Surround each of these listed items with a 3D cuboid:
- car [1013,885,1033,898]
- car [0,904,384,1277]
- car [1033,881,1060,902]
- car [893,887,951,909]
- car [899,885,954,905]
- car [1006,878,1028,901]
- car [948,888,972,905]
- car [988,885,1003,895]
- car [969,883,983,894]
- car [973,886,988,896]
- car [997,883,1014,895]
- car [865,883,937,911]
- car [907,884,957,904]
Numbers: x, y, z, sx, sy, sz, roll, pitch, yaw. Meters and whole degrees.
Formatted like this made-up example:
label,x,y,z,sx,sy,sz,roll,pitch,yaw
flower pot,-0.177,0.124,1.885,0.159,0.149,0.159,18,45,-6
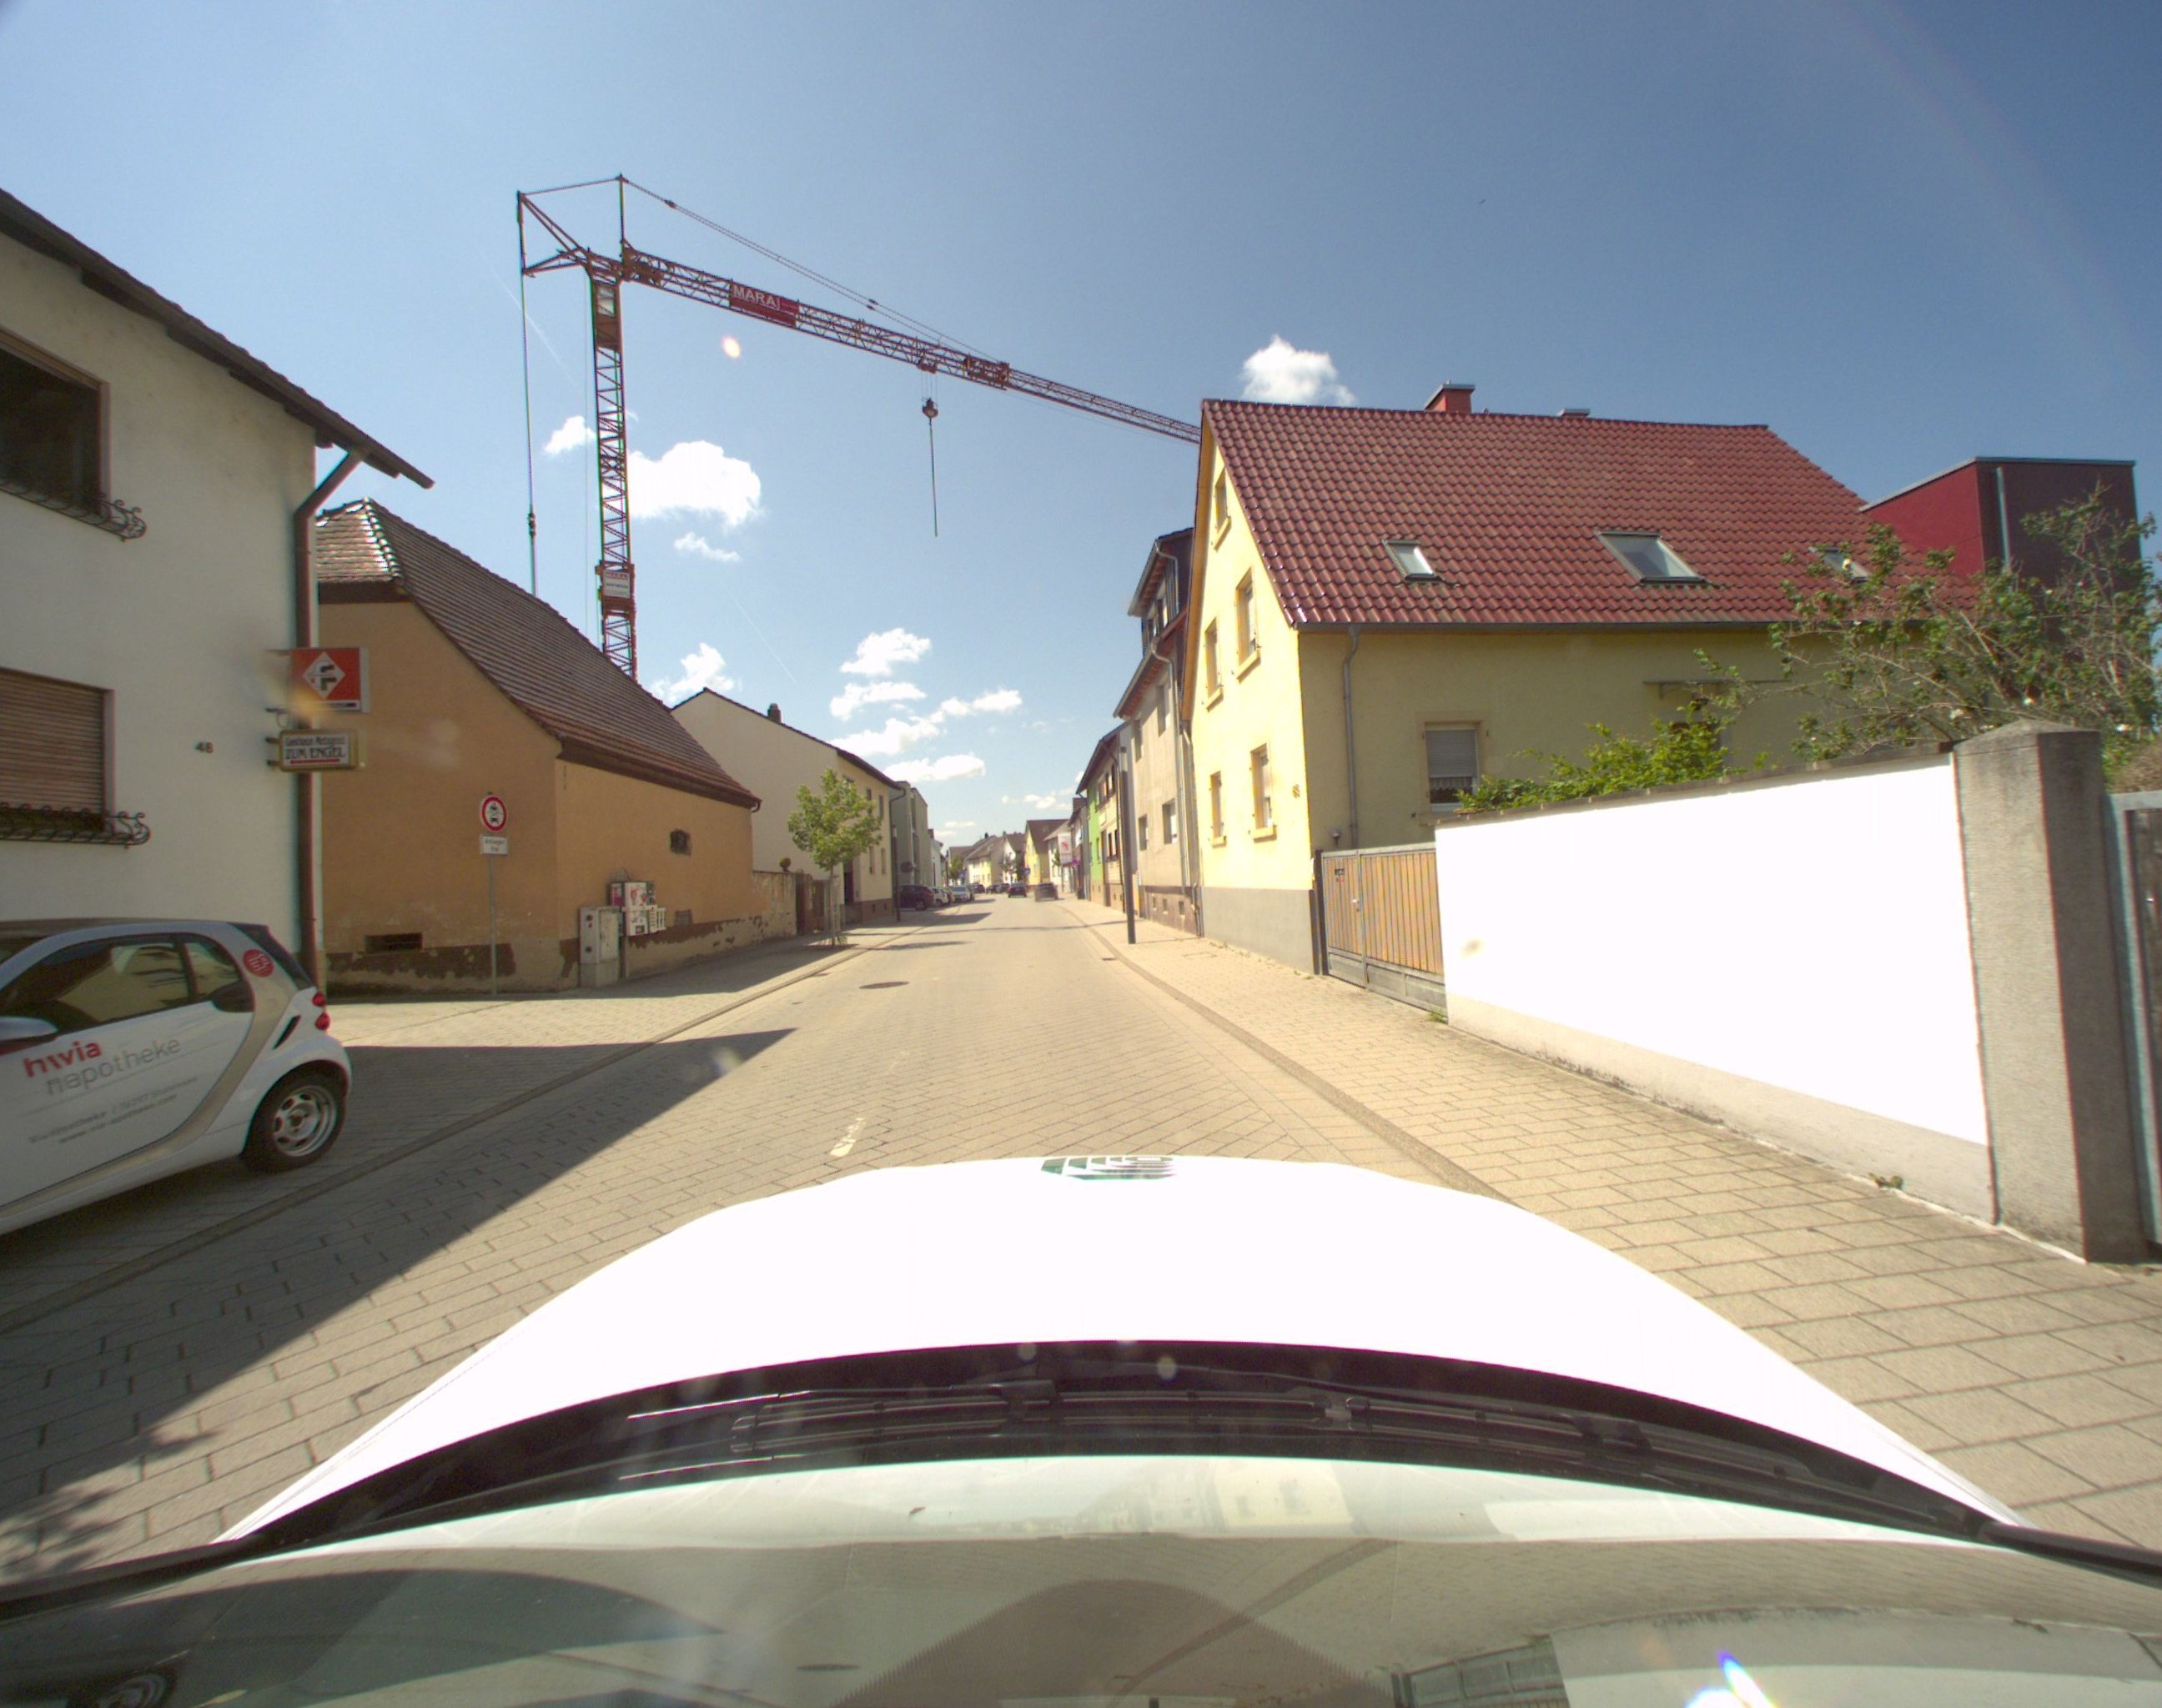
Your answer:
label,x,y,z,sx,sy,sz,roll,pitch,yaw
car,-7.903,5.151,111.504,1.833,1.471,4.253,-5,-2,-15
car,-5.488,1.077,4.074,1.568,1.561,2.819,0,-2,-2
car,-2.684,2.976,64.687,1.853,1.459,4.583,-5,-2,-1
car,-11.640,3.208,59.692,3.891,1.503,1.749,0,-2,-2
car,-11.773,3.113,62.235,3.979,1.442,1.688,0,-2,-4
car,-6.408,3.500,81.135,1.991,2.058,4.364,-3,-2,-6
car,-10.828,3.776,73.200,1.754,1.411,3.872,-1,-2,-3
car,-13.423,5.658,127.928,1.714,1.387,3.685,-3,-2,-15
car,-18.971,6.176,146.498,1.910,1.872,3.978,-3,-2,-15
car,-17.391,6.435,141.133,1.881,1.591,3.978,-3,-2,-15
car,-11.175,5.185,120.595,1.850,1.563,3.673,-3,-2,-15
car,-11.407,2.712,51.818,4.211,1.658,1.781,-1,-2,-5
car,-11.859,3.169,65.000,3.683,1.525,1.670,-1,-2,-3
